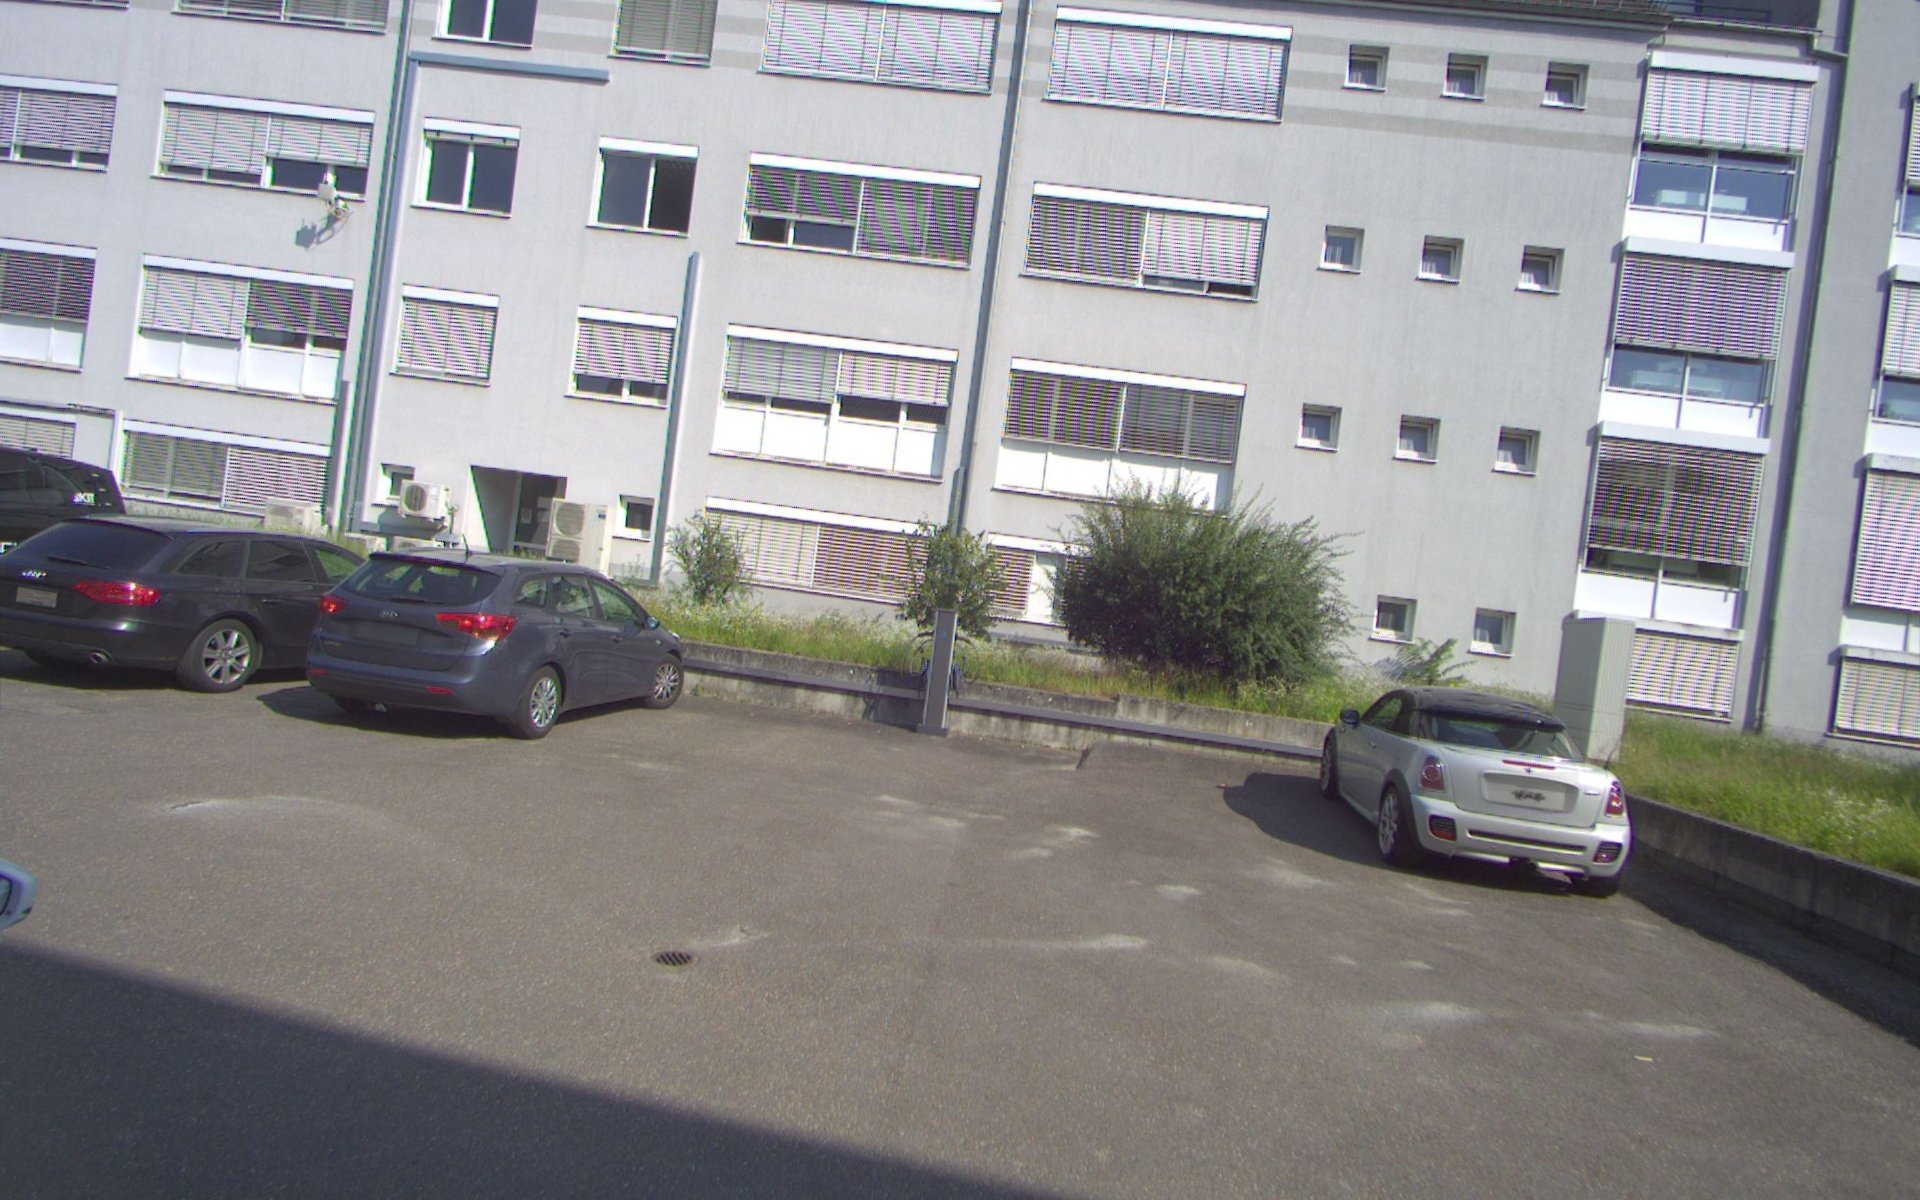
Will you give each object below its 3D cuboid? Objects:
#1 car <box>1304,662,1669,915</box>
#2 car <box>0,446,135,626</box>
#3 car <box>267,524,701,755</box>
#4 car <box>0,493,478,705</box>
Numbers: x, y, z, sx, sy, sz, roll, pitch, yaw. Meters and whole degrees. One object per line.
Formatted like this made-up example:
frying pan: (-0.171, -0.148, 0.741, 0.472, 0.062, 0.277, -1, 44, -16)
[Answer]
car: (4.388, 1.458, 9.044, 1.627, 1.455, 3.584, 8, 0, 8)
car: (-11.032, -0.801, 9.960, 1.879, 1.881, 4.349, 8, 0, 1)
car: (-4.099, 0.335, 9.545, 1.709, 1.496, 4.062, 8, 0, 6)
car: (-6.850, 0.017, 9.772, 1.658, 1.455, 4.249, 8, 0, 9)
